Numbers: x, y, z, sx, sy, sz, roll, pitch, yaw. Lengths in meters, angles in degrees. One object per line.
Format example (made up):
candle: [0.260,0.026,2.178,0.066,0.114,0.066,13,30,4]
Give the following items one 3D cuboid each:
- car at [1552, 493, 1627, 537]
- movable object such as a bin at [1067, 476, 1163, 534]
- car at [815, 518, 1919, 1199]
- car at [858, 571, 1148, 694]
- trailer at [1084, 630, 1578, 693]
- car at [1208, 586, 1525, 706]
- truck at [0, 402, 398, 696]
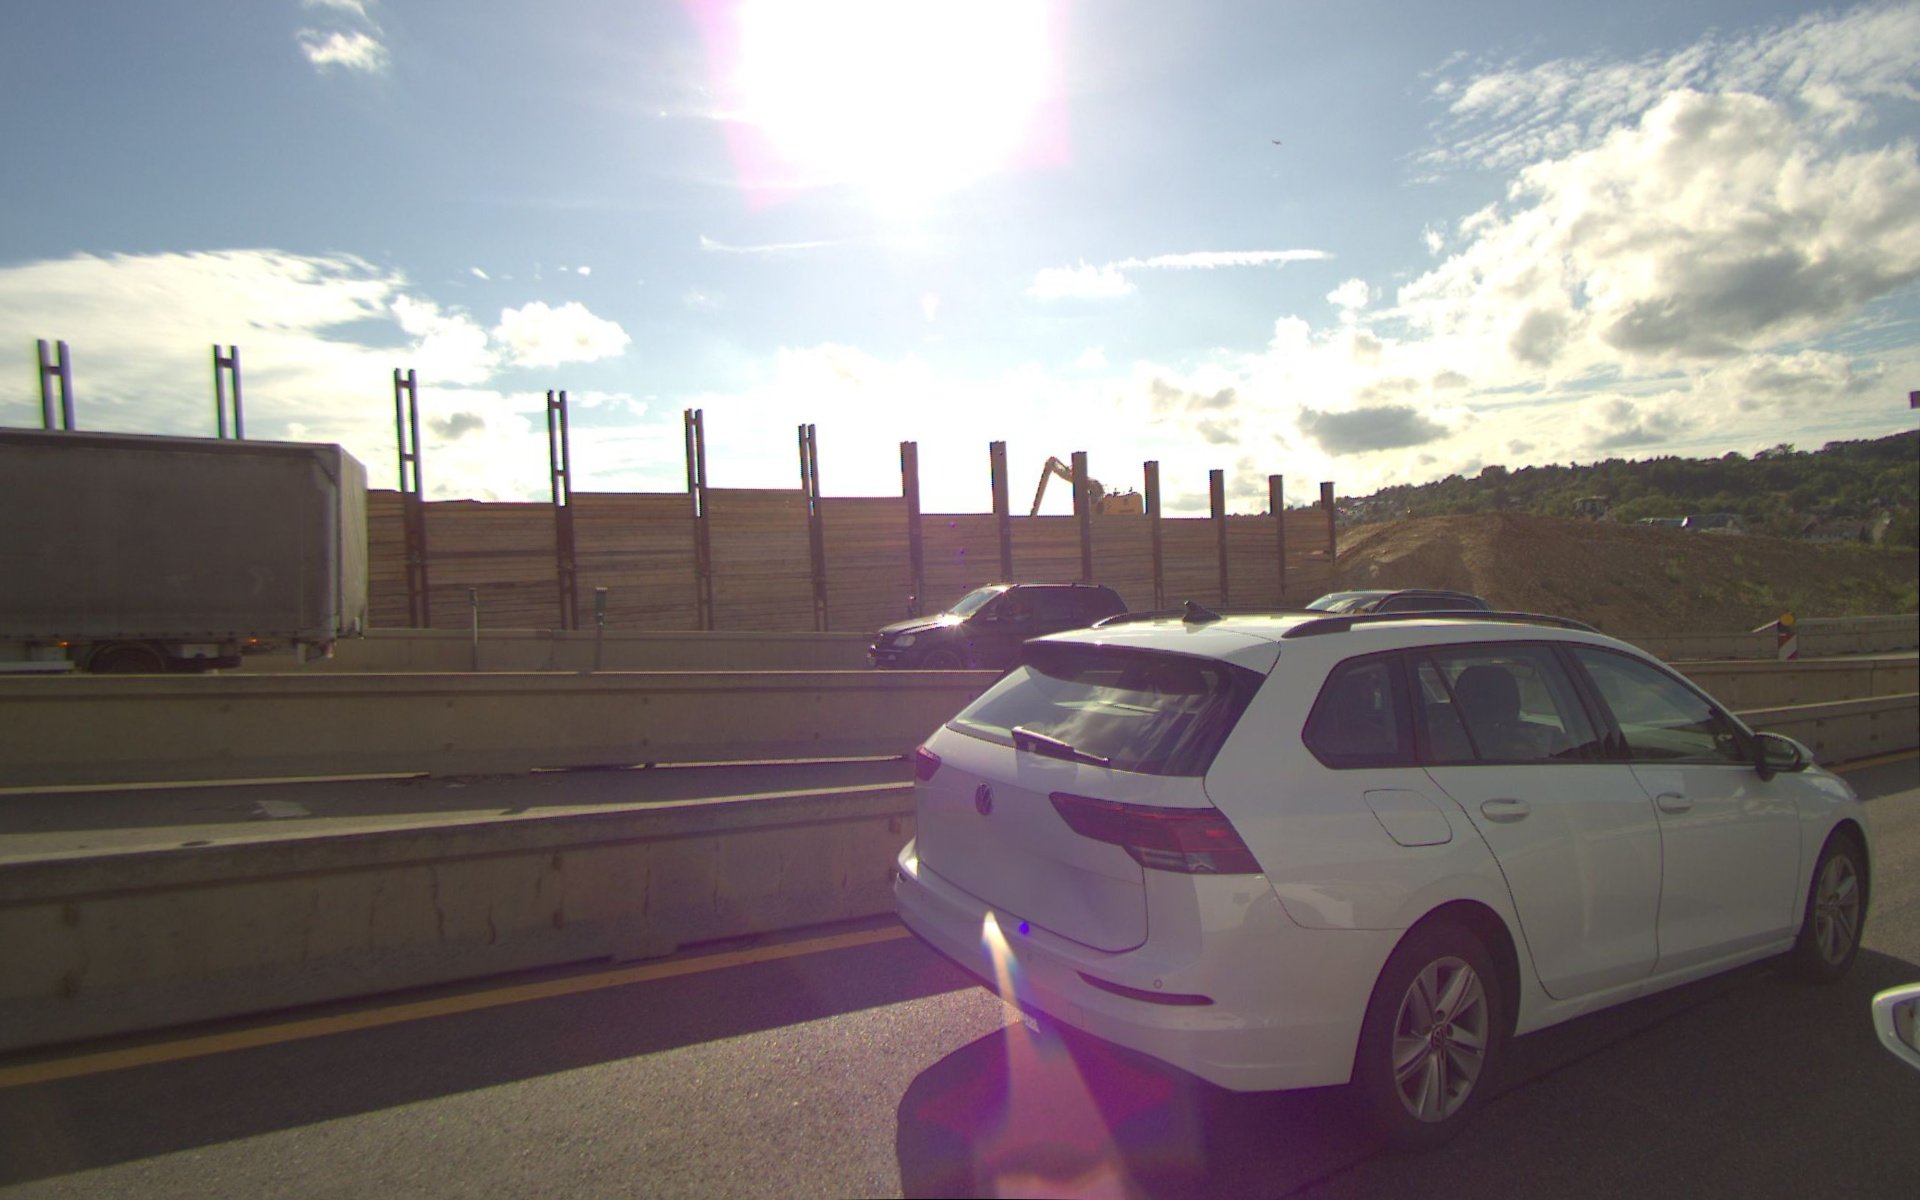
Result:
car: [40.780,-5.485,65.071,5.264,2.168,1.983,2,-5,-33]
movable object such as a bin: [10.833,-6.603,70.814,4.442,3.314,5.739,2,0,-20]
car: [1.854,0.690,3.972,4.465,1.510,1.761,3,-2,-31]
car: [0.702,0.551,16.750,4.381,1.828,1.989,2,0,-22]
trailer: [7.459,1.164,19.605,10.180,0.952,2.346,1,0,-23]
car: [6.345,0.650,15.631,4.683,1.657,1.847,1,1,-25]
truck: [-11.580,-0.602,12.670,7.429,3.355,2.695,2,0,-23]
